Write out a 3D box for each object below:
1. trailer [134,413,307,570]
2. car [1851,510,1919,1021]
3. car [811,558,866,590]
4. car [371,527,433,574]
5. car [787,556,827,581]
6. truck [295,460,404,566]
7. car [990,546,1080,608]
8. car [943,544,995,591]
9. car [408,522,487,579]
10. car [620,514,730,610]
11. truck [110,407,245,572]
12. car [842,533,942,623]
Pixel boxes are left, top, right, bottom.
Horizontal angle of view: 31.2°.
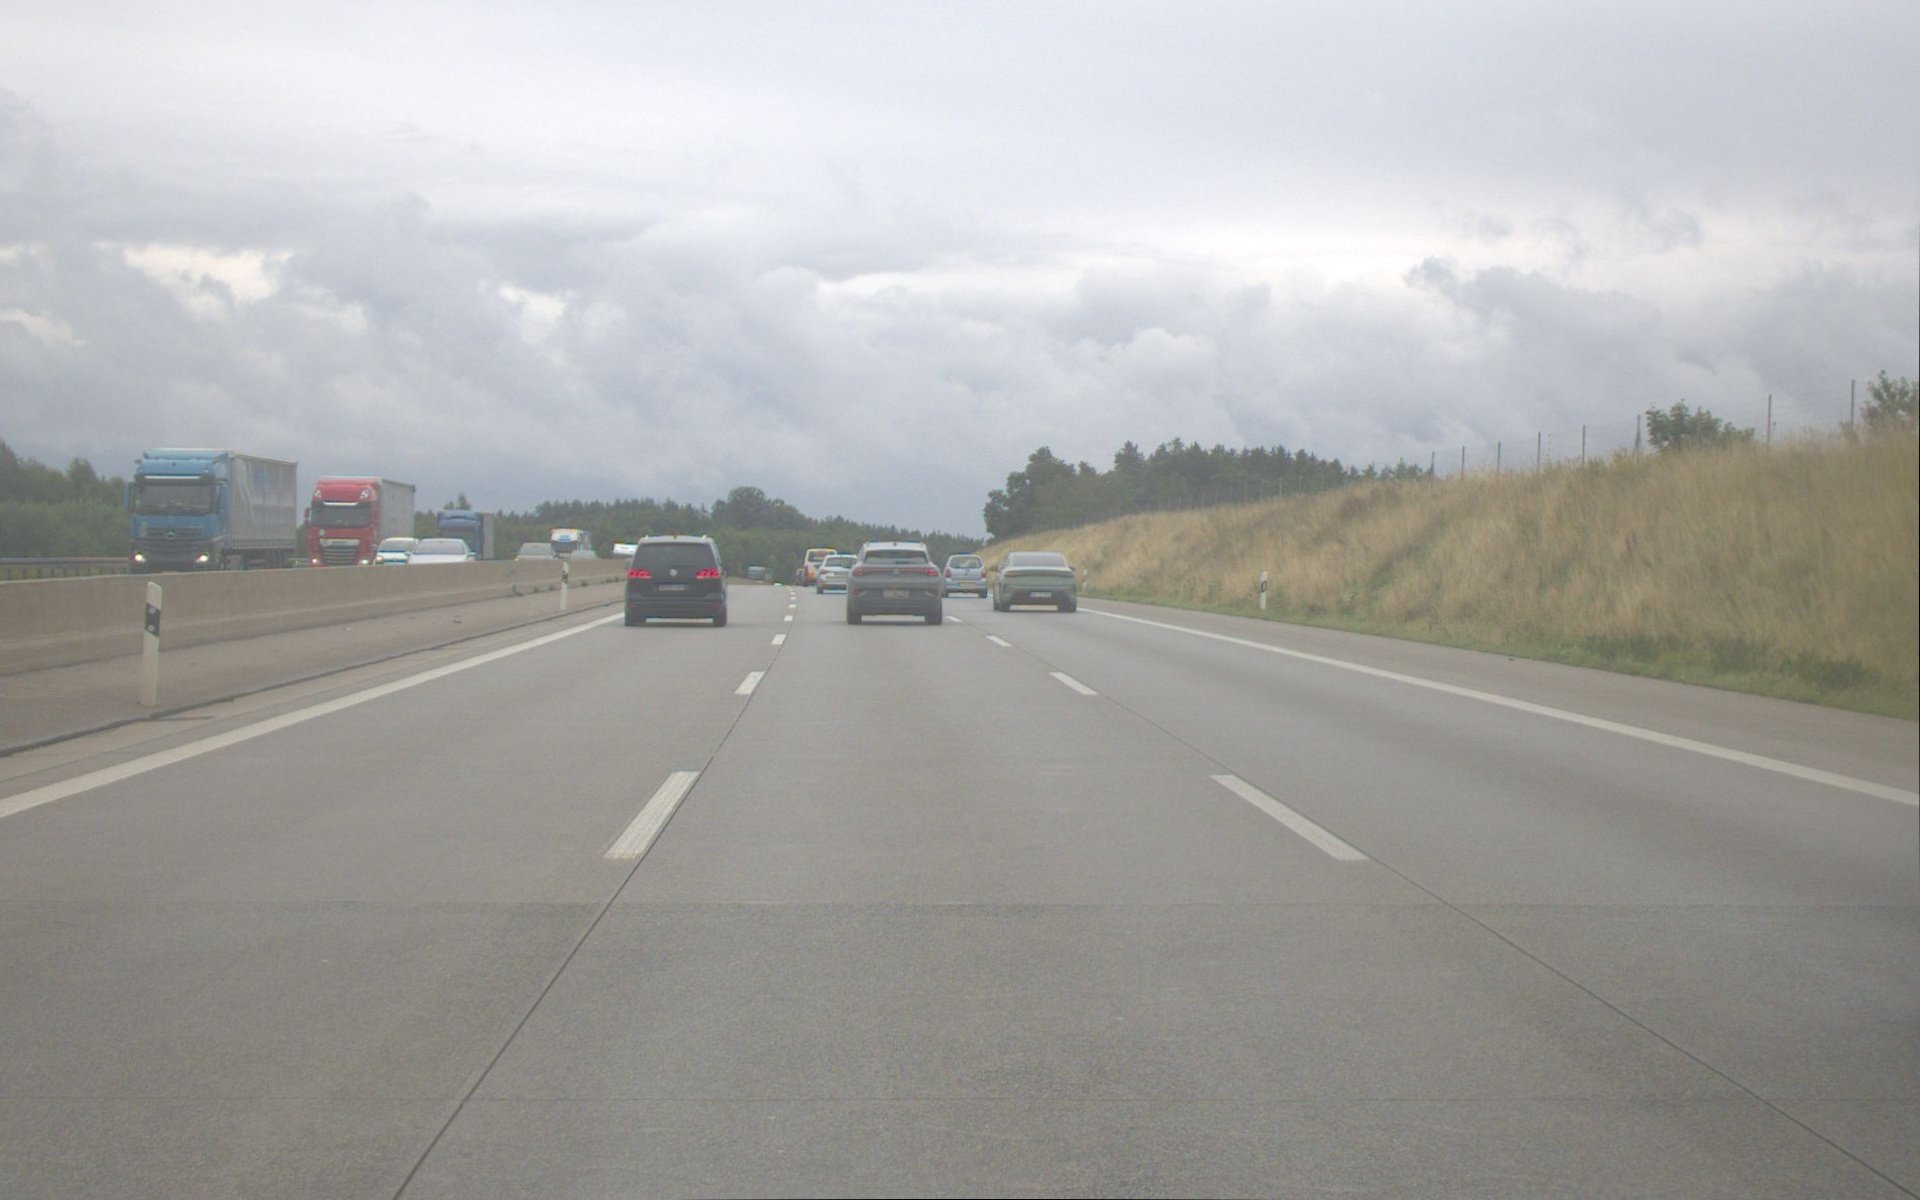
[{"bbox_3d":[-23.168,-3.352,108.547,2.915,4.609,13.638,1,1,-2],"label":"trailer"},{"bbox_3d":[3.932,0.561,9.264,1.785,1.599,4.571,1,1,-1],"label":"car"},{"bbox_3d":[-4.462,-0.962,126.404,1.797,1.119,4.000,1,1,1],"label":"car"},{"bbox_3d":[-19.883,-1.771,122.620,1.614,1.645,4.295,1,1,-2],"label":"car"},{"bbox_3d":[-7.868,-1.610,176.935,1.797,1.217,4.000,1,1,1],"label":"car"},{"bbox_3d":[-24.872,-3.523,140.356,3.470,4.168,6.494,1,1,-2],"label":"truck"},{"bbox_3d":[1.804,-0.584,84.505,2.014,1.441,4.745,1,1,-1],"label":"car"},{"bbox_3d":[0.285,-1.122,116.079,1.485,1.465,3.505,3,1,-3],"label":"car"},{"bbox_3d":[-15.124,-1.474,101.666,1.698,1.609,4.720,1,1,-1],"label":"car"},{"bbox_3d":[-5.334,-0.732,64.767,1.785,1.741,3.915,1,1,-1],"label":"car"},{"bbox_3d":[-22.903,-3.213,100.813,2.927,4.660,5.233,1,1,-2],"label":"truck"},{"bbox_3d":[-1.355,-0.470,68.272,1.898,1.684,5.267,1,1,-1],"label":"car"}]
